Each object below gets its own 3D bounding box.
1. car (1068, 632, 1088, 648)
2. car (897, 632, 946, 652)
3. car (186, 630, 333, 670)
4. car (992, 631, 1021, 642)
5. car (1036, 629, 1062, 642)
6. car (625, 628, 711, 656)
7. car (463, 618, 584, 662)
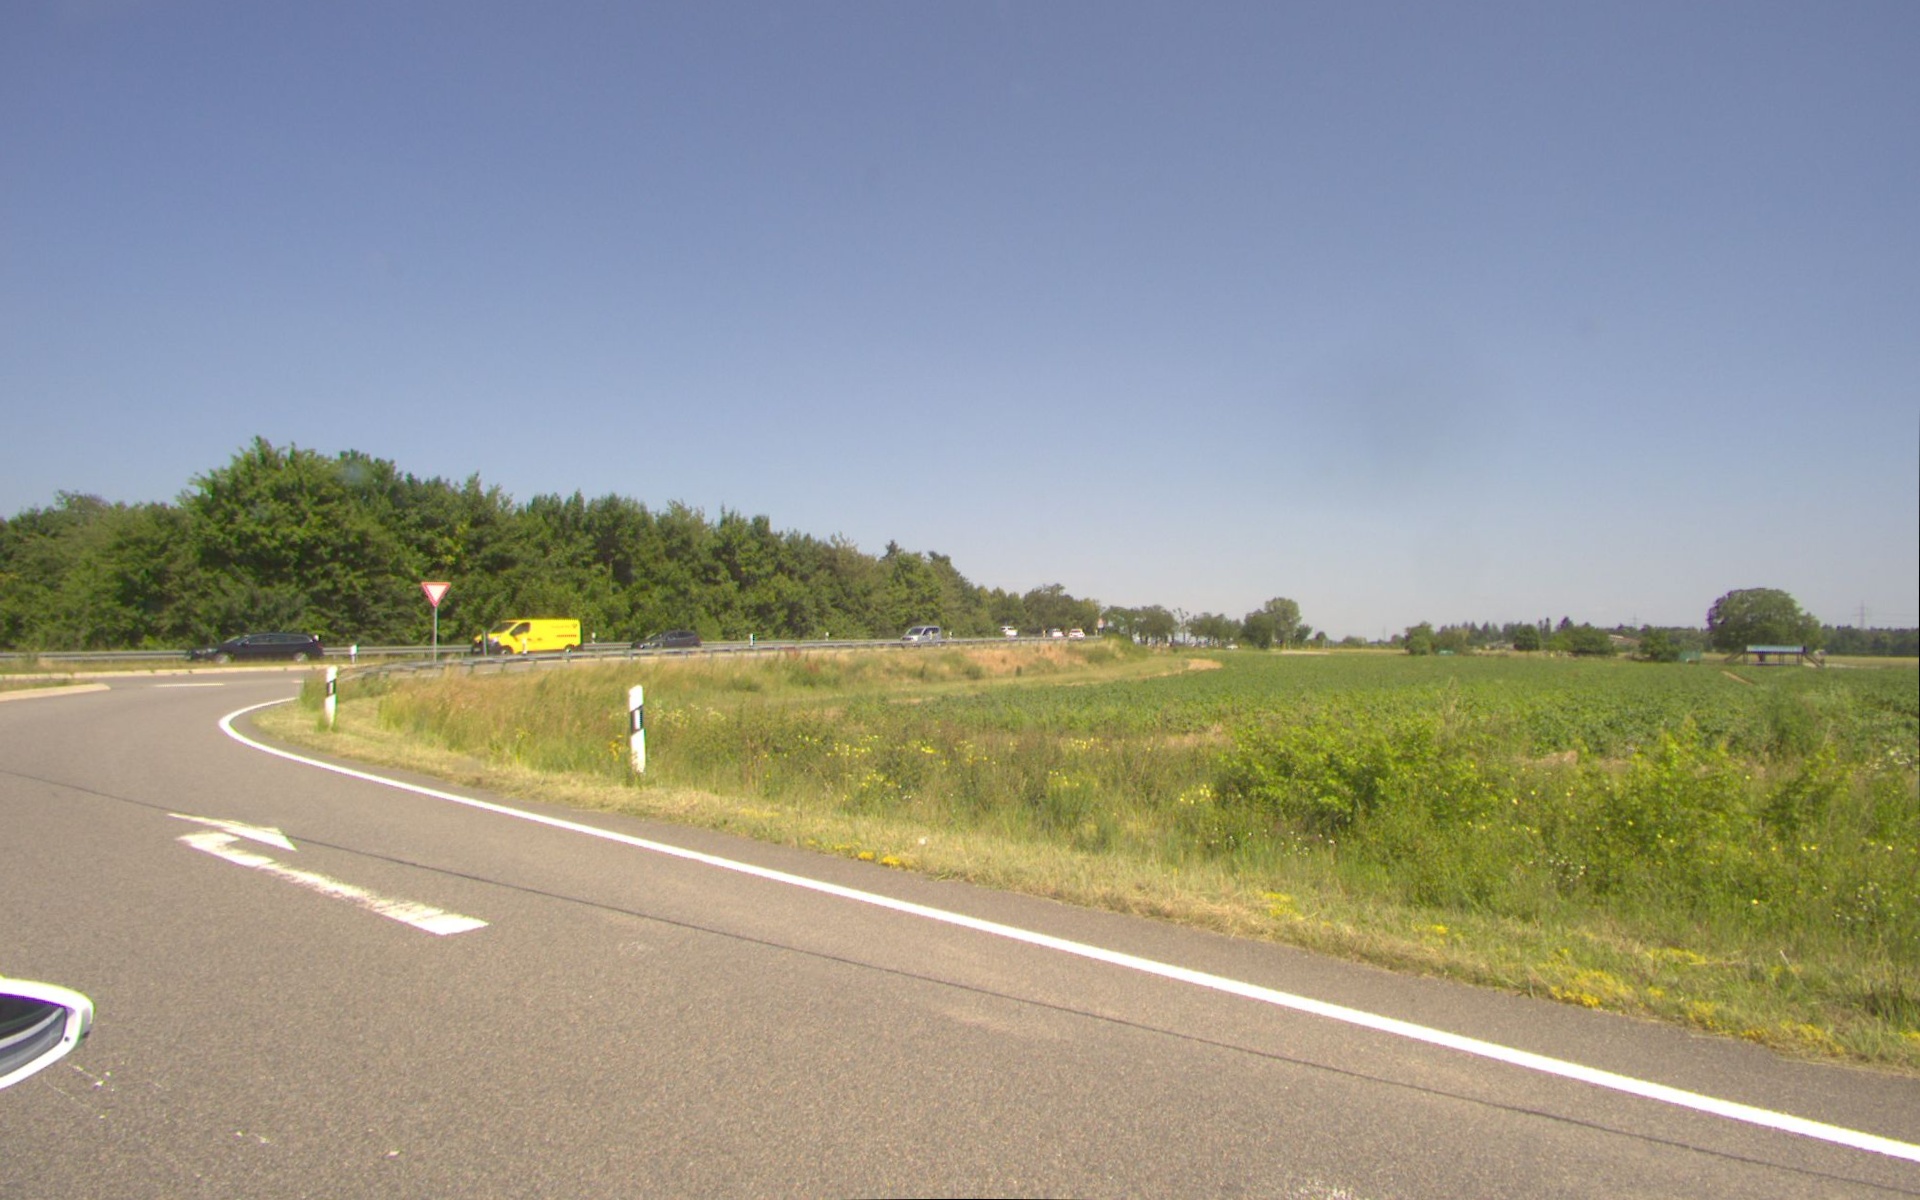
[{"bbox_3d":[13.086,4.400,110.792,1.707,1.587,4.480,-1,-1,12],"label":"car"},{"bbox_3d":[-3.063,3.331,80.538,1.824,1.533,4.680,-1,-2,28],"label":"car"},{"bbox_3d":[-28.746,2.005,41.221,1.831,1.533,4.664,-2,-2,39],"label":"car"},{"bbox_3d":[6.575,5.215,142.029,1.717,1.587,4.455,1,-2,-34],"label":"car"},{"bbox_3d":[11.394,4.529,127.736,1.712,1.587,3.681,0,-2,-24],"label":"car"},{"bbox_3d":[-16.618,2.356,57.155,1.828,1.533,4.671,-1,-2,34],"label":"car"},{"bbox_3d":[-21.443,1.950,49.436,1.972,2.039,5.311,-1,-2,33],"label":"car"}]
